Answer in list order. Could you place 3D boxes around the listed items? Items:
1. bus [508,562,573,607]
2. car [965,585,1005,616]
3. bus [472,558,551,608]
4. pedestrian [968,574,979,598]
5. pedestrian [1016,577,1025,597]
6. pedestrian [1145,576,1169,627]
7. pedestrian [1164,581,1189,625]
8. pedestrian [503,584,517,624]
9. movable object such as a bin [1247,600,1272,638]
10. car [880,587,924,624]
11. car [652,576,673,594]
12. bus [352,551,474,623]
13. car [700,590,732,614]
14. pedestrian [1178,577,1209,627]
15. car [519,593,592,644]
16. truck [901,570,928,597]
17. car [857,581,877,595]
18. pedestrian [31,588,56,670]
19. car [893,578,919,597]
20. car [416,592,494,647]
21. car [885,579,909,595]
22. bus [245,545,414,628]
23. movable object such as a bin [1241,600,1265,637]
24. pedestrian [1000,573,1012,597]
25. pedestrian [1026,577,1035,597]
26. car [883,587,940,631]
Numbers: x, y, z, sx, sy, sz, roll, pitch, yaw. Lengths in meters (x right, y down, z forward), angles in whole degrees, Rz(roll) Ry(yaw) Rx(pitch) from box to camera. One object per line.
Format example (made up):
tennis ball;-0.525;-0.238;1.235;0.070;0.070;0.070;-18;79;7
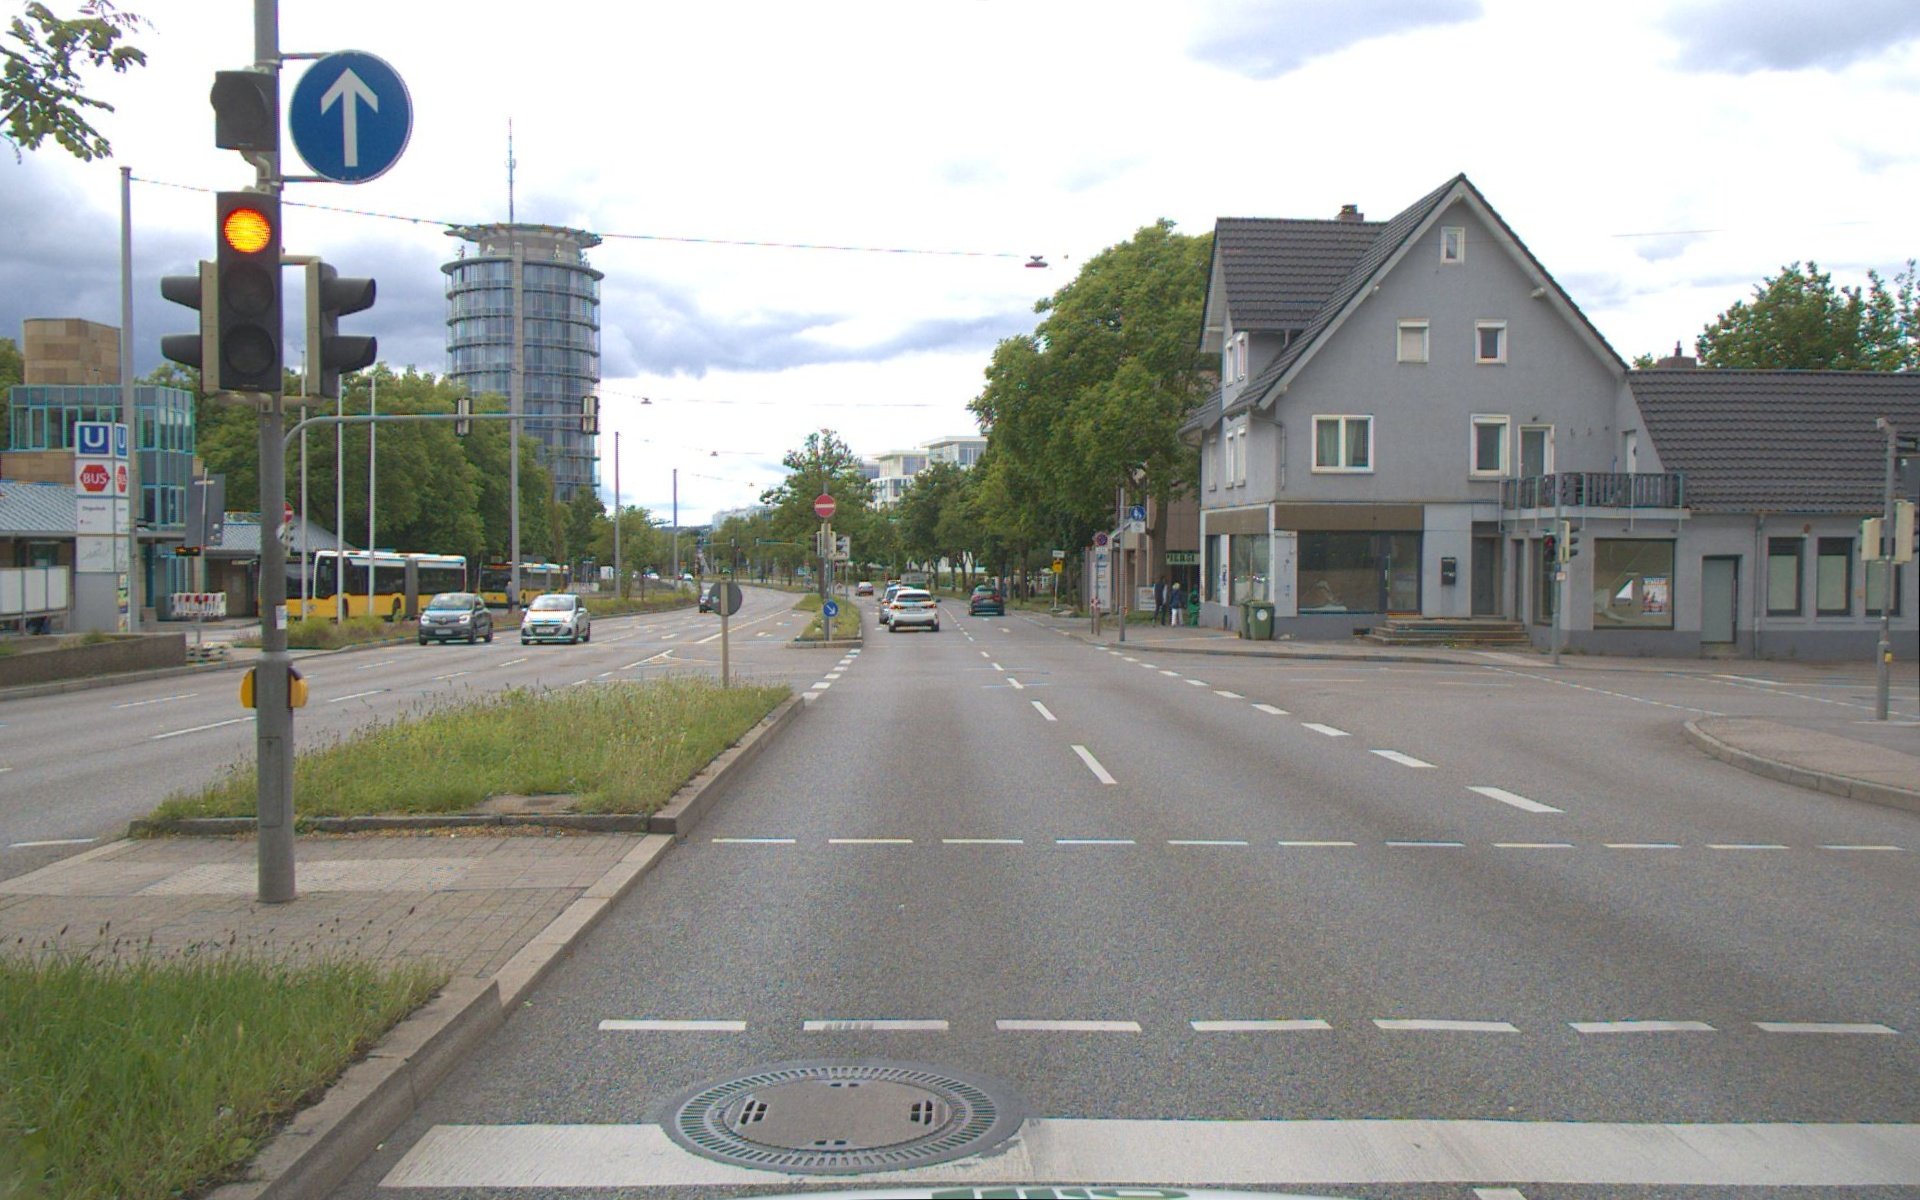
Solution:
bus;-31.148;-1.131;123.007;3.081;3.281;7.762;0;0;-2
car;1.248;0.055;85.398;1.851;1.521;4.097;-1;-1;-2
bus;-30.786;-1.116;114.008;3.082;3.281;10.279;0;0;-3
pedestrian;1.351;-1.435;169.660;0.914;2.349;1.008;1;-1;-10
pedestrian;4.843;-1.006;132.316;0.638;1.597;0.669;0;0;-9
pedestrian;6.991;0.047;58.679;0.690;1.811;0.870;-1;0;20
pedestrian;7.596;0.098;57.965;0.691;1.533;0.870;-1;0;22
pedestrian;-22.343;0.198;82.050;0.650;1.930;0.683;0;0;-15
movable object such as a bin;7.998;0.496;44.160;0.518;0.997;0.736;0;0;-1
car;-2.535;0.219;72.000;1.786;1.567;4.111;0;0;-4
car;-35.911;-1.826;199.738;1.925;2.049;3.999;1;0;-1
bus;-26.546;-0.613;80.715;2.927;3.327;7.879;-1;0;3
car;-15.762;0.143;106.894;1.668;1.518;3.560;-1;0;-2
pedestrian;8.529;0.072;60.372;0.857;1.811;0.701;0;0;-27
car;-12.364;0.549;50.723;1.651;1.488;3.552;0;0;-5
truck;-4.351;-1.532;156.423;2.207;2.459;4.927;0;0;-5
car;-9.723;-1.256;173.021;1.929;1.444;4.017;0;0;-6
pedestrian;-18.359;0.580;33.130;0.414;1.619;0.353;0;0;-30
car;-5.405;-1.239;165.000;2.207;1.787;4.927;0;0;-5
car;-15.473;0.564;50.811;1.652;1.606;3.344;0;0;-6
car;-6.606;-1.386;173.778;2.207;1.676;4.927;0;0;-6
bus;-27.083;-0.560;71.690;2.927;3.307;10.174;-1;0;3
movable object such as a bin;7.968;0.495;44.950;0.518;0.997;0.736;0;0;-1
pedestrian;3.962;-1.314;142.039;0.951;2.049;0.981;1;-1;-2
pedestrian;5.648;-1.015;132.236;0.638;1.597;0.669;0;0;-9
car;-1.698;0.303;59.284;1.953;1.503;4.256;0;0;0
